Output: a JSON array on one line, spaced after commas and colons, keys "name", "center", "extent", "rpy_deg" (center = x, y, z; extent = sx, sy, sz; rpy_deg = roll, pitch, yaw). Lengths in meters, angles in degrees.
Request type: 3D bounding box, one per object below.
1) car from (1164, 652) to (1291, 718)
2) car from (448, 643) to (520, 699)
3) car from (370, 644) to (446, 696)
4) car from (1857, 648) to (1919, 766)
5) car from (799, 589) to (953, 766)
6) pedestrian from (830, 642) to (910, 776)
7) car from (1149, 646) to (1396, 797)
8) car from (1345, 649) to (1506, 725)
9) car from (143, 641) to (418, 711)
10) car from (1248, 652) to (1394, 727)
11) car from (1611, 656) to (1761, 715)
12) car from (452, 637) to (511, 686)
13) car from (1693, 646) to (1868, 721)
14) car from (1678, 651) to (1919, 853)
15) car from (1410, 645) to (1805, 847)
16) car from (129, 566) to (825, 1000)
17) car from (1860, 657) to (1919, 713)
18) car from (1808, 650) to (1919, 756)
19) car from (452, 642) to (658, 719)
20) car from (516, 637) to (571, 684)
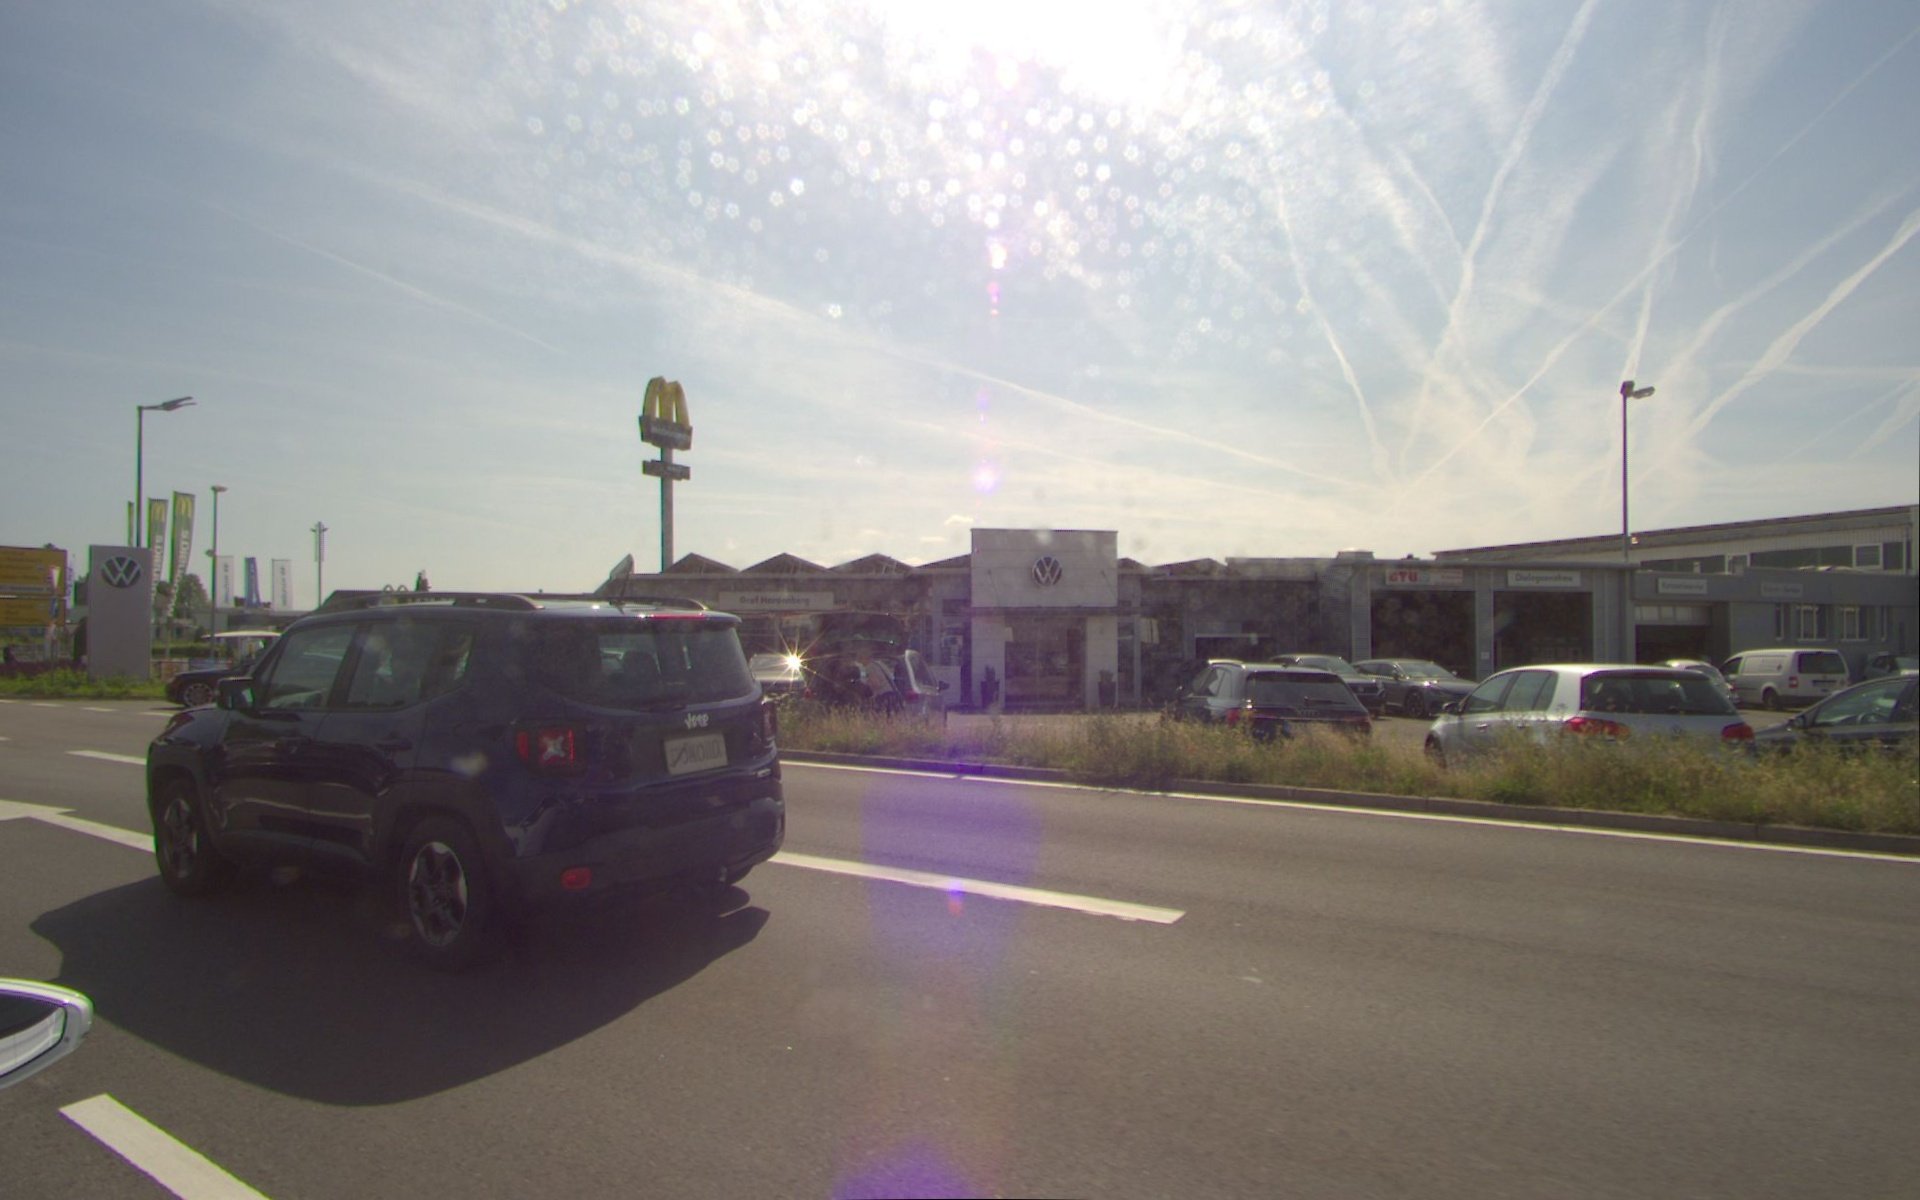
[{"name": "car", "center": [7.937, 2.486, 30.210], "extent": [1.744, 1.675, 4.545], "rpy_deg": [0, -1, -14]}, {"name": "car", "center": [-14.573, 2.108, 30.843], "extent": [1.720, 1.511, 4.252], "rpy_deg": [0, -1, -22]}, {"name": "car", "center": [-18.383, 2.285, 33.515], "extent": [1.747, 1.552, 4.079], "rpy_deg": [0, -1, -22]}, {"name": "car", "center": [16.217, 1.561, 14.368], "extent": [4.638, 1.676, 1.901], "rpy_deg": [-1, -1, 29]}, {"name": "car", "center": [-1.092, 1.036, 14.901], "extent": [1.729, 2.241, 4.350], "rpy_deg": [0, -1, 3]}, {"name": "pedestrian", "center": [-1.103, 1.328, 12.458], "extent": [0.920, 1.604, 0.758], "rpy_deg": [0, -1, -1]}, {"name": "car", "center": [3.649, 1.358, 12.555], "extent": [1.741, 1.471, 4.345], "rpy_deg": [0, -1, 0]}, {"name": "car", "center": [11.696, 2.127, 25.470], "extent": [1.742, 1.675, 4.076], "rpy_deg": [0, -1, -9]}, {"name": "car", "center": [-15.334, 1.792, 22.915], "extent": [4.729, 1.347, 1.967], "rpy_deg": [3, -6, -13]}, {"name": "car", "center": [9.009, 2.196, 25.365], "extent": [1.662, 1.629, 4.075], "rpy_deg": [1, -1, -10]}, {"name": "car", "center": [21.651, 2.516, 30.082], "extent": [1.741, 1.510, 4.078], "rpy_deg": [0, -1, 4]}, {"name": "car", "center": [-18.354, 2.311, 38.537], "extent": [1.747, 1.692, 4.158], "rpy_deg": [0, -1, -22]}, {"name": "car", "center": [24.384, 2.412, 30.014], "extent": [1.741, 1.974, 4.539], "rpy_deg": [0, -1, 4]}, {"name": "car", "center": [8.690, 1.295, 8.799], "extent": [1.741, 1.572, 4.001], "rpy_deg": [0, -1, -3]}, {"name": "car", "center": [6.240, 1.291, 10.284], "extent": [1.679, 1.578, 4.001], "rpy_deg": [0, -1, 4]}, {"name": "car", "center": [-2.851, 0.757, 5.691], "extent": [3.943, 1.676, 1.767], "rpy_deg": [-1, -1, 32]}, {"name": "car", "center": [33.835, 2.970, 35.386], "extent": [1.951, 1.752, 3.902], "rpy_deg": [-1, -1, 25]}, {"name": "car", "center": [17.349, 1.724, 16.755], "extent": [4.469, 1.676, 1.962], "rpy_deg": [-1, -1, 29]}, {"name": "car", "center": [-9.212, 1.833, 22.966], "extent": [3.998, 1.674, 1.777], "rpy_deg": [0, -3, 7]}, {"name": "car", "center": [-16.333, 2.322, 39.423], "extent": [1.881, 1.692, 4.805], "rpy_deg": [0, -1, -22]}]
